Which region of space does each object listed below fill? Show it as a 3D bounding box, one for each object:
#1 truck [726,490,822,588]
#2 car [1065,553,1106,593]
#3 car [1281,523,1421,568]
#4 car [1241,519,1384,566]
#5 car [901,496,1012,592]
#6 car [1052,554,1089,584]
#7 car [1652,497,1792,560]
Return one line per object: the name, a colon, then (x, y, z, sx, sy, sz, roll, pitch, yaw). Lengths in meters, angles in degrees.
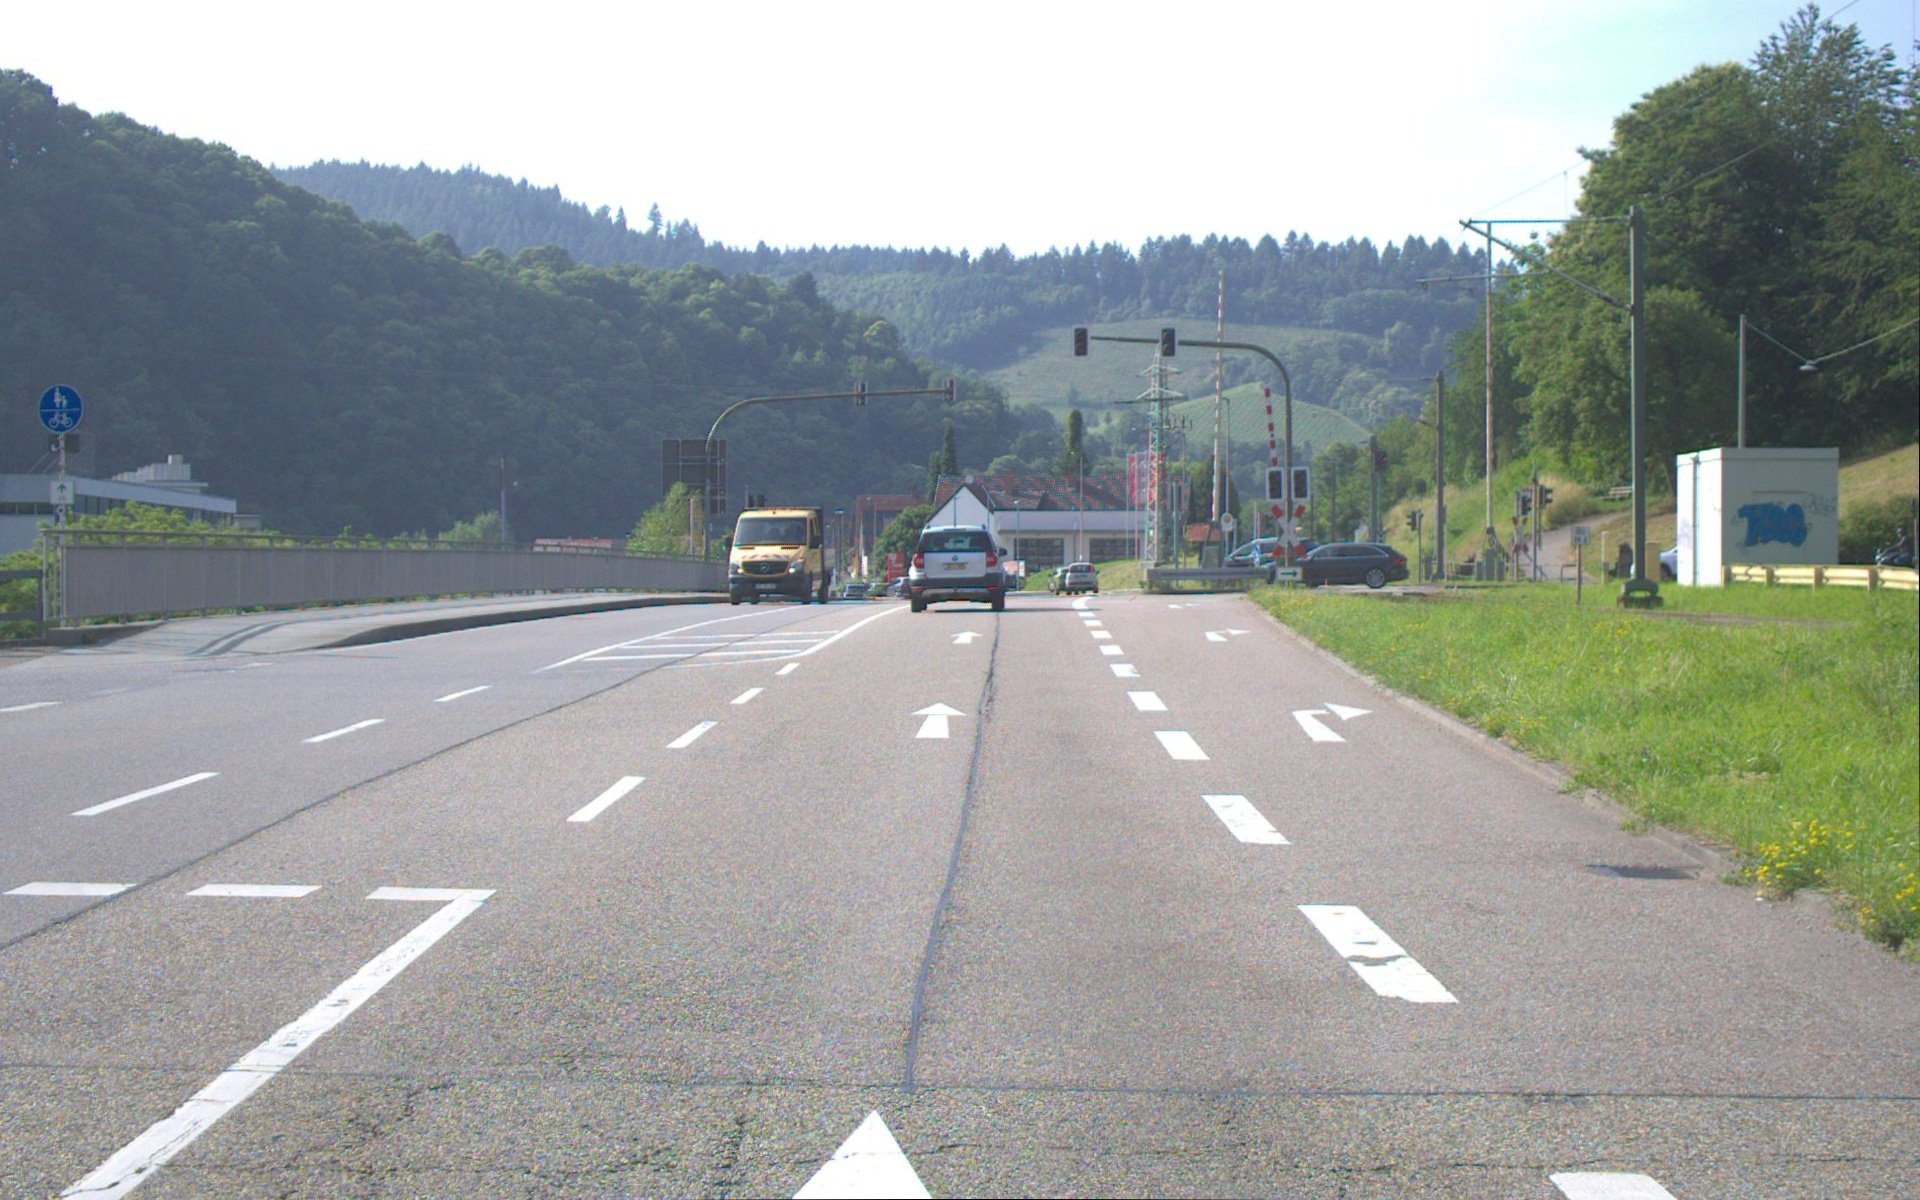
truck: (-4.542, -1.537, 84.760, 1.993, 2.335, 5.698, 0, 2, 1)
car: (6.569, -1.431, 180.303, 1.993, 2.007, 4.000, -1, 1, 0)
car: (11.938, -1.676, 104.858, 3.990, 1.350, 1.876, 0, 2, 16)
car: (10.527, -1.725, 102.659, 3.990, 1.350, 1.876, 0, 2, 16)
car: (-0.094, -1.072, 66.111, 1.993, 1.717, 3.990, -2, 1, -1)
car: (6.214, -1.771, 194.106, 1.993, 1.612, 4.000, -1, 1, 0)
car: (22.841, -2.148, 102.983, 3.990, 1.875, 1.876, 0, 2, 16)
